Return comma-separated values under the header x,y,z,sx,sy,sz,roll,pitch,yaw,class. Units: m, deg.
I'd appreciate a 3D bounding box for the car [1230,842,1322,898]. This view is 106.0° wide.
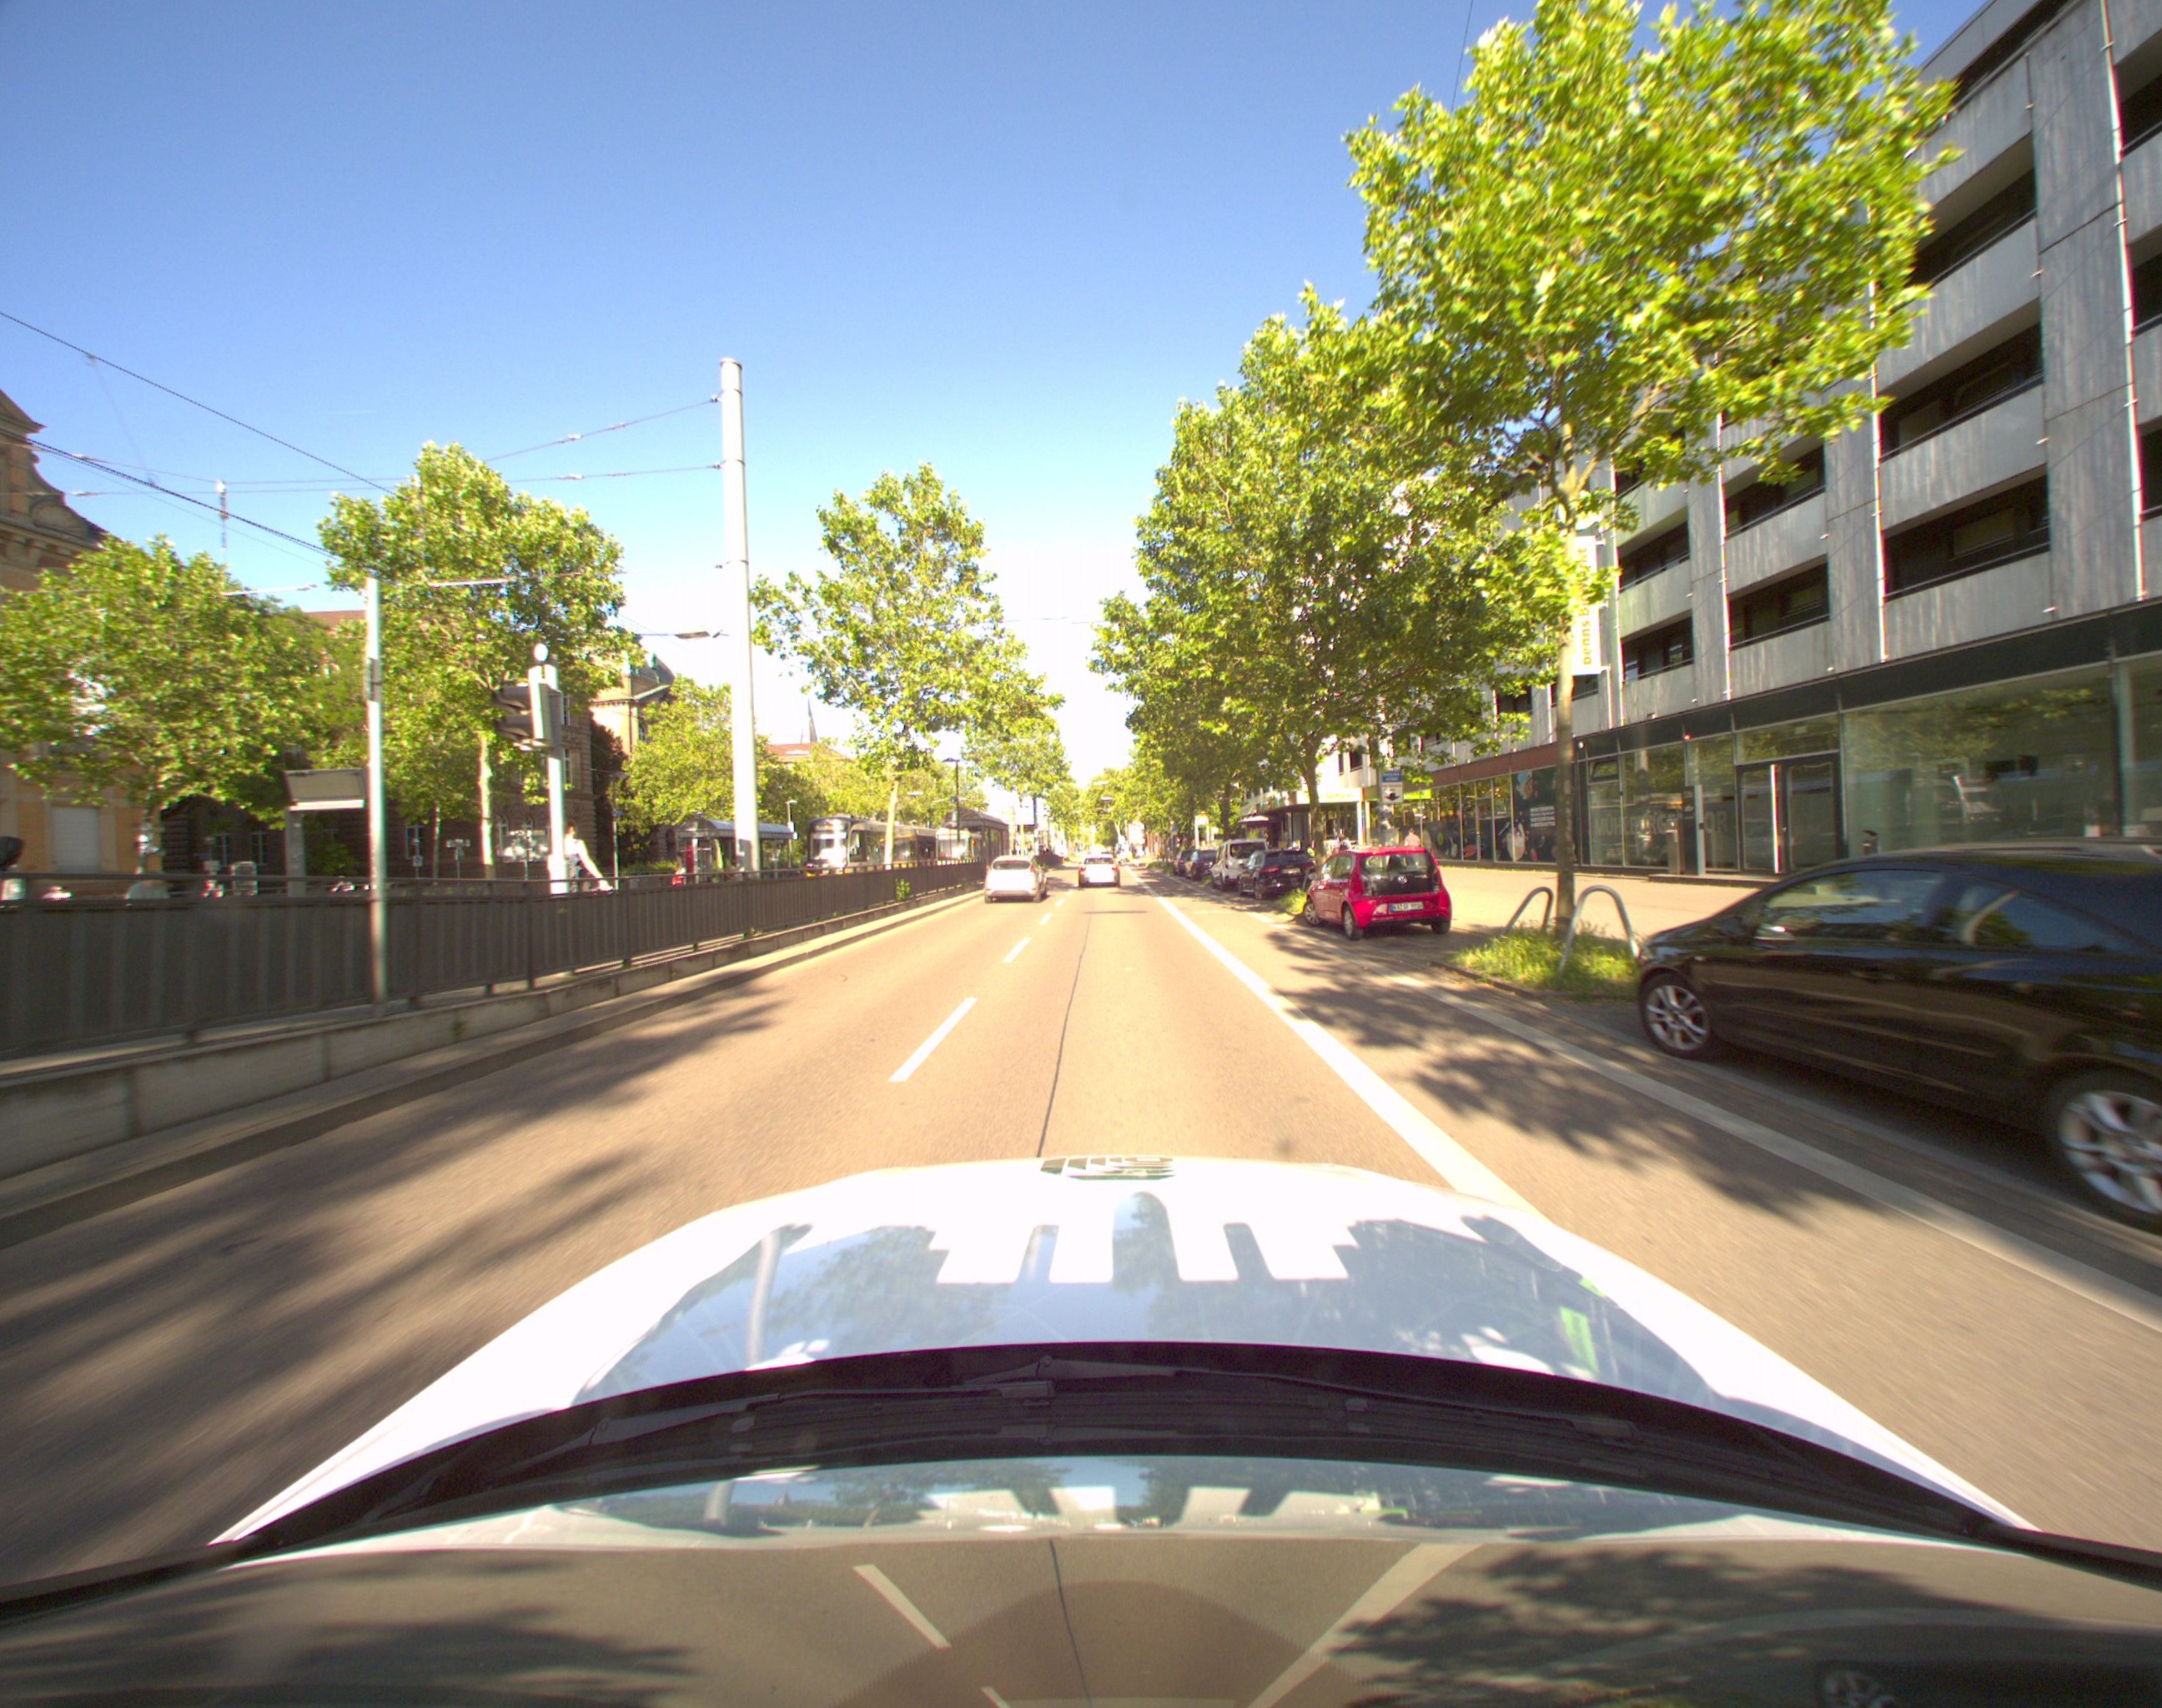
x,y,z,sx,sy,sz,roll,pitch,yaw,class
5.705,0.418,24.281,1.722,1.403,4.296,-4,0,1,car

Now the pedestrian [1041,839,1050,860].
x,y,z,sx,sy,sz,roll,pitch,yaw,class
-2.999,-0.395,69.018,0.658,1.696,0.571,-3,0,3,pedestrian

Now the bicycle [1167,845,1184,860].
x,y,z,sx,sy,sz,roll,pitch,yaw,class
7.562,-0.131,65.240,0.788,1.133,1.839,-3,0,-11,bicycle

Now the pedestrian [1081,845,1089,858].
x,y,z,sx,sy,sz,roll,pitch,yaw,class
0.440,-0.302,95.786,0.824,1.575,0.741,-2,0,9,pedestrian

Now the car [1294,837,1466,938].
x,y,z,sx,sy,sz,roll,pitch,yaw,class
5.140,0.529,14.521,1.667,1.438,3.691,-5,0,1,car

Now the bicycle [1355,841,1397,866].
x,y,z,sx,sy,sz,roll,pitch,yaw,class
13.725,-0.022,37.873,1.683,1.055,0.589,-4,2,28,bicycle

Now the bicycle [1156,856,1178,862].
x,y,z,sx,sy,sz,roll,pitch,yaw,class
6.971,0.385,66.063,1.602,0.353,1.389,-4,0,2,bicycle

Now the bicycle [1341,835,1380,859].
x,y,z,sx,sy,sz,roll,pitch,yaw,class
13.789,-0.347,40.228,1.683,1.055,0.589,-4,3,28,bicycle

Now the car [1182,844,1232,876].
x,y,z,sx,sy,sz,roll,pitch,yaw,class
6.043,0.254,39.579,1.755,1.418,4.702,-2,0,1,car

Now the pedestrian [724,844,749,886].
x,y,z,sx,sy,sz,roll,pitch,yaw,class
-15.497,0.481,36.678,0.707,1.855,0.648,-4,0,0,pedestrian

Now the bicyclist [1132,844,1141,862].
x,y,z,sx,sy,sz,roll,pitch,yaw,class
5.150,-0.069,75.362,0.654,1.657,0.767,-3,0,10,bicyclist

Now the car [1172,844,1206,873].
x,y,z,sx,sy,sz,roll,pitch,yaw,class
6.152,0.250,46.660,1.559,1.550,4.003,-2,0,2,car

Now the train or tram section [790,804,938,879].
x,y,z,sx,sy,sz,roll,pitch,yaw,class
-11.619,-0.687,46.740,2.860,3.434,18.286,-1,1,2,train or tram section

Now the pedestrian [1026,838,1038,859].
x,y,z,sx,sy,sz,roll,pitch,yaw,class
-3.638,-0.438,60.856,0.773,1.509,0.751,-3,0,-2,pedestrian

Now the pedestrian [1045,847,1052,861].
x,y,z,sx,sy,sz,roll,pitch,yaw,class
-2.794,-0.018,69.728,0.543,1.192,0.531,-3,0,1,pedestrian

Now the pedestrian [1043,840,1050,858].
x,y,z,sx,sy,sz,roll,pitch,yaw,class
-3.354,-0.500,78.729,0.546,1.734,0.539,-3,0,-2,pedestrian

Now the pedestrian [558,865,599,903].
x,y,z,sx,sy,sz,roll,pitch,yaw,class
-16.451,0.964,26.692,0.723,1.167,0.887,-2,0,2,pedestrian

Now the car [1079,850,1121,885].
x,y,z,sx,sy,sz,roll,pitch,yaw,class
0.873,0.537,35.335,1.653,1.409,3.635,-1,0,3,car

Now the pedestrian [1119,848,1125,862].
x,y,z,sx,sy,sz,roll,pitch,yaw,class
4.767,0.135,93.850,0.636,1.619,0.642,-3,-2,3,pedestrian

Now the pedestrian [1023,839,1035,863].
x,y,z,sx,sy,sz,roll,pitch,yaw,class
-3.985,-0.232,62.265,0.773,1.752,0.723,-3,0,-2,pedestrian

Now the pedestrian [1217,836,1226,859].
x,y,z,sx,sy,sz,roll,pitch,yaw,class
11.270,-0.516,65.310,0.558,1.744,0.879,-3,0,1,pedestrian

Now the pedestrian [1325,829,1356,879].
x,y,z,sx,sy,sz,roll,pitch,yaw,class
8.794,-0.002,27.618,0.695,1.612,0.869,-5,0,3,pedestrian

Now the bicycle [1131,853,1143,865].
x,y,z,sx,sy,sz,roll,pitch,yaw,class
5.202,0.476,75.432,0.826,1.041,1.880,-3,0,11,bicycle

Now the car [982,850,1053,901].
x,y,z,sx,sy,sz,roll,pitch,yaw,class
-1.936,0.633,25.840,1.723,1.390,3.843,-1,1,3,car

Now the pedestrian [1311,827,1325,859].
x,y,z,sx,sy,sz,roll,pitch,yaw,class
13.196,-0.632,45.308,0.606,1.715,0.616,-5,2,18,pedestrian

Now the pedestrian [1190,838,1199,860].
x,y,z,sx,sy,sz,roll,pitch,yaw,class
9.092,-0.398,65.334,0.558,1.704,1.052,-3,0,1,pedestrian

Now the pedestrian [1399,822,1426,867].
x,y,z,sx,sy,sz,roll,pitch,yaw,class
12.695,-0.364,31.224,0.555,1.678,0.882,-5,0,1,pedestrian

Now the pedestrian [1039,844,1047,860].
x,y,z,sx,sy,sz,roll,pitch,yaw,class
-3.022,-0.169,64.432,0.532,1.246,0.604,-3,0,0,pedestrian

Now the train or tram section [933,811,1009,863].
x,y,z,sx,sy,sz,roll,pitch,yaw,class
-7.679,-1.020,59.679,2.903,3.260,15.899,-1,0,2,train or tram section

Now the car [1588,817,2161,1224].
x,y,z,sx,sy,sz,roll,pitch,yaw,class
4.802,0.579,4.464,1.619,1.442,3.932,-4,0,2,car

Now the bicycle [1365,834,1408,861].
x,y,z,sx,sy,sz,roll,pitch,yaw,class
13.843,-0.284,36.952,1.683,1.055,0.589,-5,1,28,bicycle

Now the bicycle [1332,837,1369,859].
x,y,z,sx,sy,sz,roll,pitch,yaw,class
13.689,-0.299,41.347,1.631,0.916,0.589,-4,3,28,bicycle

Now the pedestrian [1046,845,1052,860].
x,y,z,sx,sy,sz,roll,pitch,yaw,class
-2.807,-0.136,70.940,0.414,1.316,0.507,-3,0,0,pedestrian

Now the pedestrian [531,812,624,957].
x,y,z,sx,sy,sz,roll,pitch,yaw,class
-6.200,0.359,10.054,0.679,1.709,0.624,-2,0,1,pedestrian

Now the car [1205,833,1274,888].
x,y,z,sx,sy,sz,roll,pitch,yaw,class
5.782,0.185,30.180,1.757,1.791,4.396,-3,1,2,car

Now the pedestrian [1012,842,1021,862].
x,y,z,sx,sy,sz,roll,pitch,yaw,class
-5.409,-0.180,68.261,0.607,1.702,0.545,-3,0,-2,pedestrian

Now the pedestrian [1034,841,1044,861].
x,y,z,sx,sy,sz,roll,pitch,yaw,class
-3.475,-0.282,67.445,0.658,1.633,0.571,-3,0,3,pedestrian

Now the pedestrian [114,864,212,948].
x,y,z,sx,sy,sz,roll,pitch,yaw,class
-17.083,0.948,15.183,0.724,1.461,0.878,-4,0,-2,pedestrian

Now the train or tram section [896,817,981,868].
x,y,z,sx,sy,sz,roll,pitch,yaw,class
-10.917,-0.883,64.994,2.838,3.434,18.225,-1,1,2,train or tram section

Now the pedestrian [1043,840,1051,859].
x,y,z,sx,sy,sz,roll,pitch,yaw,class
-3.135,-0.400,75.216,0.546,1.734,0.540,-3,0,0,pedestrian

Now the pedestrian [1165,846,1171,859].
x,y,z,sx,sy,sz,roll,pitch,yaw,class
11.680,-0.219,109.084,0.623,1.629,0.946,-2,0,10,pedestrian

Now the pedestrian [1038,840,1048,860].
x,y,z,sx,sy,sz,roll,pitch,yaw,class
-3.175,-0.340,67.981,0.658,1.696,0.571,-3,0,3,pedestrian
